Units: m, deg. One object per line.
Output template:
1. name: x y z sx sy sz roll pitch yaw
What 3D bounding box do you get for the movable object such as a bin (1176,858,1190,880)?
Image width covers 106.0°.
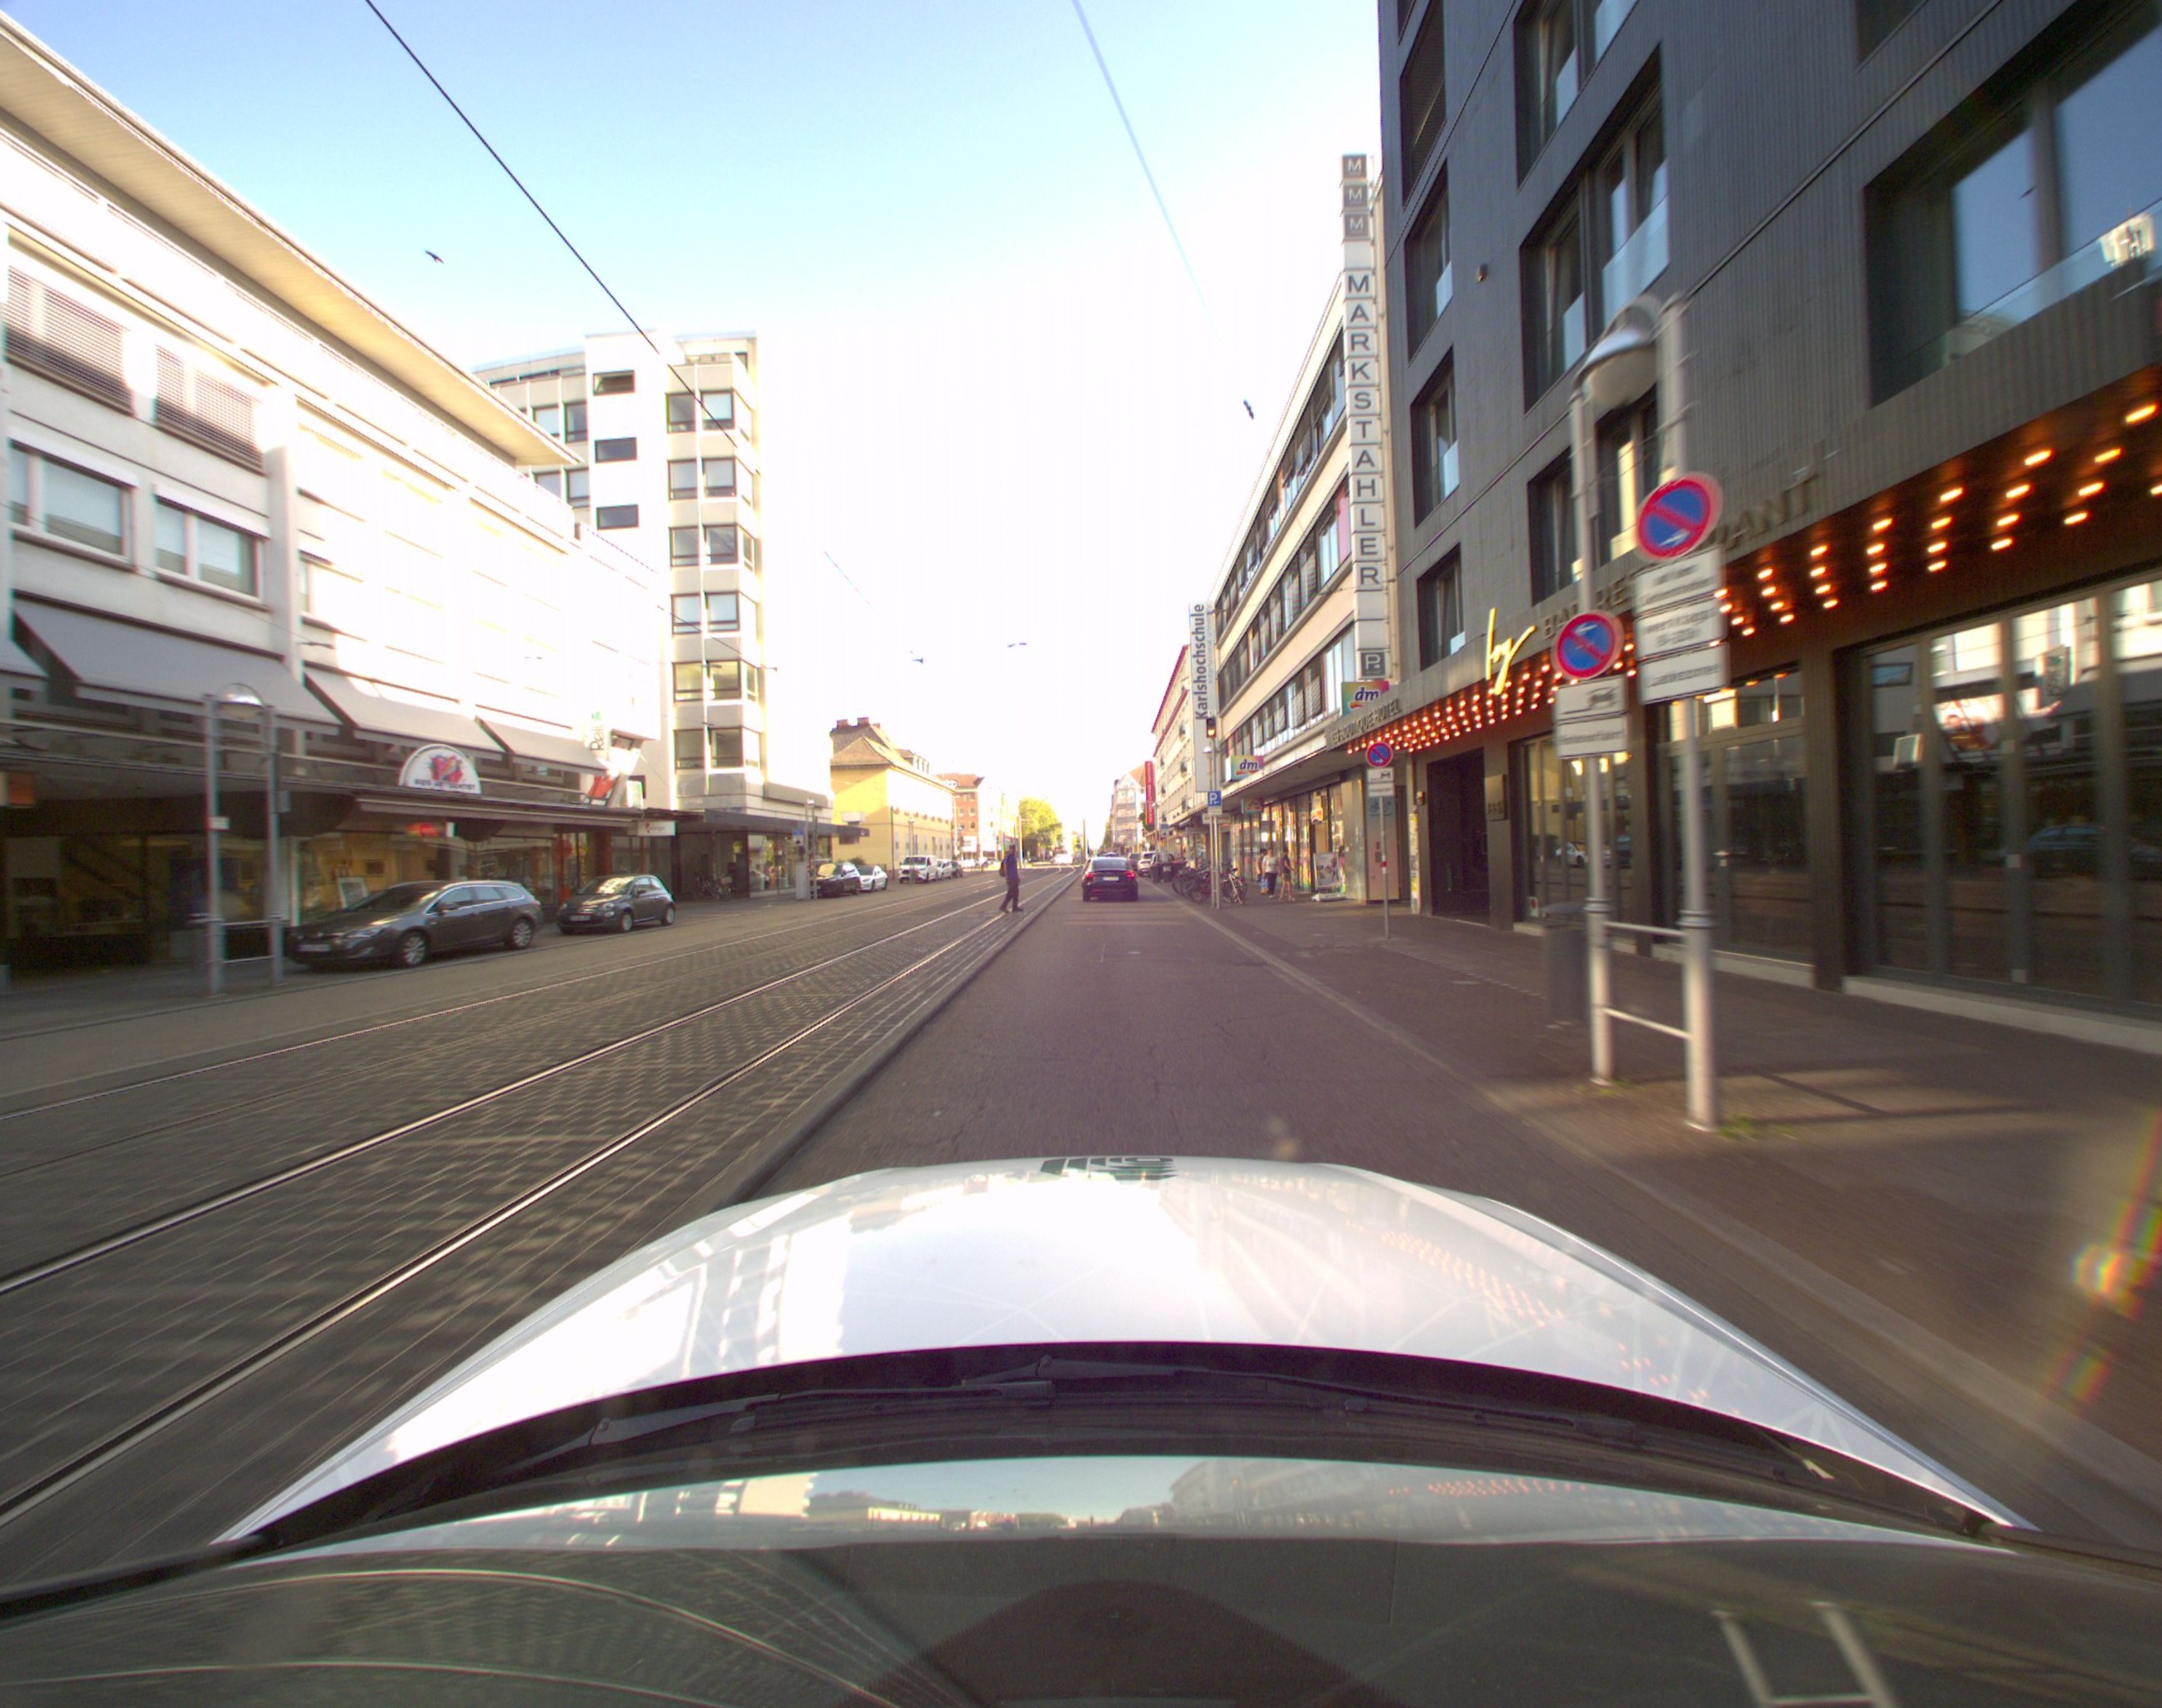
1. movable object such as a bin: 5.355 0.796 42.827 0.687 1.089 0.666 -3 -1 4

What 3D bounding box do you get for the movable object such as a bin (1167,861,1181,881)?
1. movable object such as a bin: 4.984 0.913 43.667 0.655 1.014 0.637 -3 -1 4

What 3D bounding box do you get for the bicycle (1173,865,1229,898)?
1. bicycle: 4.069 0.927 27.660 1.767 1.032 0.597 -3 0 0

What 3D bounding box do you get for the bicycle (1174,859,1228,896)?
1. bicycle: 4.257 0.834 29.026 1.781 1.217 0.587 -3 0 0

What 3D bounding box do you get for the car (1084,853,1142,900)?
1. car: 1.039 0.746 27.890 1.843 1.484 3.787 -1 0 0

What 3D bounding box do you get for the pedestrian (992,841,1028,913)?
1. pedestrian: -1.884 0.602 21.668 0.801 1.837 0.746 -3 -1 0

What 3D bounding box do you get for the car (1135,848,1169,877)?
1. car: 4.746 0.570 54.959 1.843 1.724 5.193 -4 -1 1

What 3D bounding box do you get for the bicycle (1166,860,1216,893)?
1. bicycle: 4.155 0.836 30.918 1.781 1.159 0.669 -3 0 0

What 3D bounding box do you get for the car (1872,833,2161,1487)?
1. car: 3.278 0.661 0.278 1.715 1.484 4.417 -4 -1 1

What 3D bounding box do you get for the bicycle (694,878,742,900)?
1. bicycle: -16.149 1.554 36.216 1.929 0.999 0.424 0 -1 2

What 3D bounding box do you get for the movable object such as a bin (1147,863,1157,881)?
1. movable object such as a bin: 3.739 0.957 43.097 0.485 0.958 0.458 -3 -1 4

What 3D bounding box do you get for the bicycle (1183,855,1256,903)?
1. bicycle: 4.168 0.751 24.551 2.035 1.274 0.523 -5 0 -9

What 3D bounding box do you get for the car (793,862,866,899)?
1. car: -12.045 1.241 39.338 1.971 1.678 4.657 0 0 2

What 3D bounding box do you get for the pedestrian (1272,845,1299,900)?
1. pedestrian: 5.749 0.515 22.902 0.522 1.493 0.583 -4 -1 0

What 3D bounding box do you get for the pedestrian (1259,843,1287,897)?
1. pedestrian: 5.862 0.479 24.885 0.579 1.585 0.597 -4 -1 -1

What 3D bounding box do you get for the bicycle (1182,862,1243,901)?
1. bicycle: 4.073 0.850 25.344 1.770 1.130 0.478 -3 0 -5

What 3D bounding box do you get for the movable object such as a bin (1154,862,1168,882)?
1. movable object such as a bin: 4.297 0.962 43.668 0.683 1.014 0.508 -3 -1 4

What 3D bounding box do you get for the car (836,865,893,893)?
1. car: -11.930 1.348 45.210 1.882 1.421 4.656 0 0 0

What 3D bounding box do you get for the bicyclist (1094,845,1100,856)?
1. bicyclist: 2.182 -0.443 111.540 0.835 1.500 0.559 0 -1 -7

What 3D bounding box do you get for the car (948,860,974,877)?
1. car: -10.377 1.218 70.663 1.608 1.400 3.720 0 0 1

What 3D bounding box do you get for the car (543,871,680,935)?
1. car: -12.398 1.245 21.759 1.596 1.523 3.587 0 0 -1

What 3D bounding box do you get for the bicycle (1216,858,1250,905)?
1. bicycle: 4.327 0.772 23.197 0.579 1.257 1.601 -4 -1 0

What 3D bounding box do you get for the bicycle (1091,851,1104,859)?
1. bicycle: 2.291 0.109 111.532 1.726 1.088 0.676 0 -1 -7

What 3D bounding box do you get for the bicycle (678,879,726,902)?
1. bicycle: -16.629 1.612 35.772 1.929 0.999 0.381 0 -1 2

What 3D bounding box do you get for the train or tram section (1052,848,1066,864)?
1. train or tram section: -5.411 0.545 203.531 2.664 3.715 14.198 0 0 2

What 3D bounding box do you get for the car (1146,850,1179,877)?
1. car: 4.930 0.564 49.711 1.608 1.528 4.071 -3 0 1

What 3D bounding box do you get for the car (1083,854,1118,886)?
1. car: 0.985 0.732 39.684 1.647 1.418 4.002 0 0 2

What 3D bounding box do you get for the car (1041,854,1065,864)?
1. car: -5.254 1.002 151.915 4.002 1.678 1.986 -2 0 -21

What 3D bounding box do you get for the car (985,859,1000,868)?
1. car: -14.723 1.603 135.520 1.895 1.464 4.003 0 0 3

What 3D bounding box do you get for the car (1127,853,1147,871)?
1. car: 5.667 0.783 82.712 1.738 1.632 3.650 -3 0 2

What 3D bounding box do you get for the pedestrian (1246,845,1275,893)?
1. pedestrian: 5.834 0.490 26.467 0.585 1.486 0.591 -4 -1 -30

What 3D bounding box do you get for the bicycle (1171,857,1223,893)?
1. bicycle: 4.230 0.773 29.779 1.781 1.217 0.669 -3 0 0

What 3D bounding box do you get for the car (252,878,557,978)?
1. car: -12.727 1.295 15.856 1.730 1.523 4.854 0 0 2

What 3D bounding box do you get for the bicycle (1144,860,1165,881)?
1. bicycle: 4.131 0.938 45.857 1.127 1.079 0.320 -4 -1 -1

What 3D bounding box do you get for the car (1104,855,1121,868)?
1. car: 3.690 0.949 97.403 1.778 1.519 4.215 0 0 -2

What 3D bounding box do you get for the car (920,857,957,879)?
1. car: -11.263 1.052 64.780 1.800 1.685 4.653 0 0 4

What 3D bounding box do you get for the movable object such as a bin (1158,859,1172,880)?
1. movable object such as a bin: 4.411 0.823 42.936 0.687 1.089 0.686 -3 -1 4

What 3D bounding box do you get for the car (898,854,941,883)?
1. car: -11.521 1.021 58.435 1.986 1.975 5.097 0 0 1
